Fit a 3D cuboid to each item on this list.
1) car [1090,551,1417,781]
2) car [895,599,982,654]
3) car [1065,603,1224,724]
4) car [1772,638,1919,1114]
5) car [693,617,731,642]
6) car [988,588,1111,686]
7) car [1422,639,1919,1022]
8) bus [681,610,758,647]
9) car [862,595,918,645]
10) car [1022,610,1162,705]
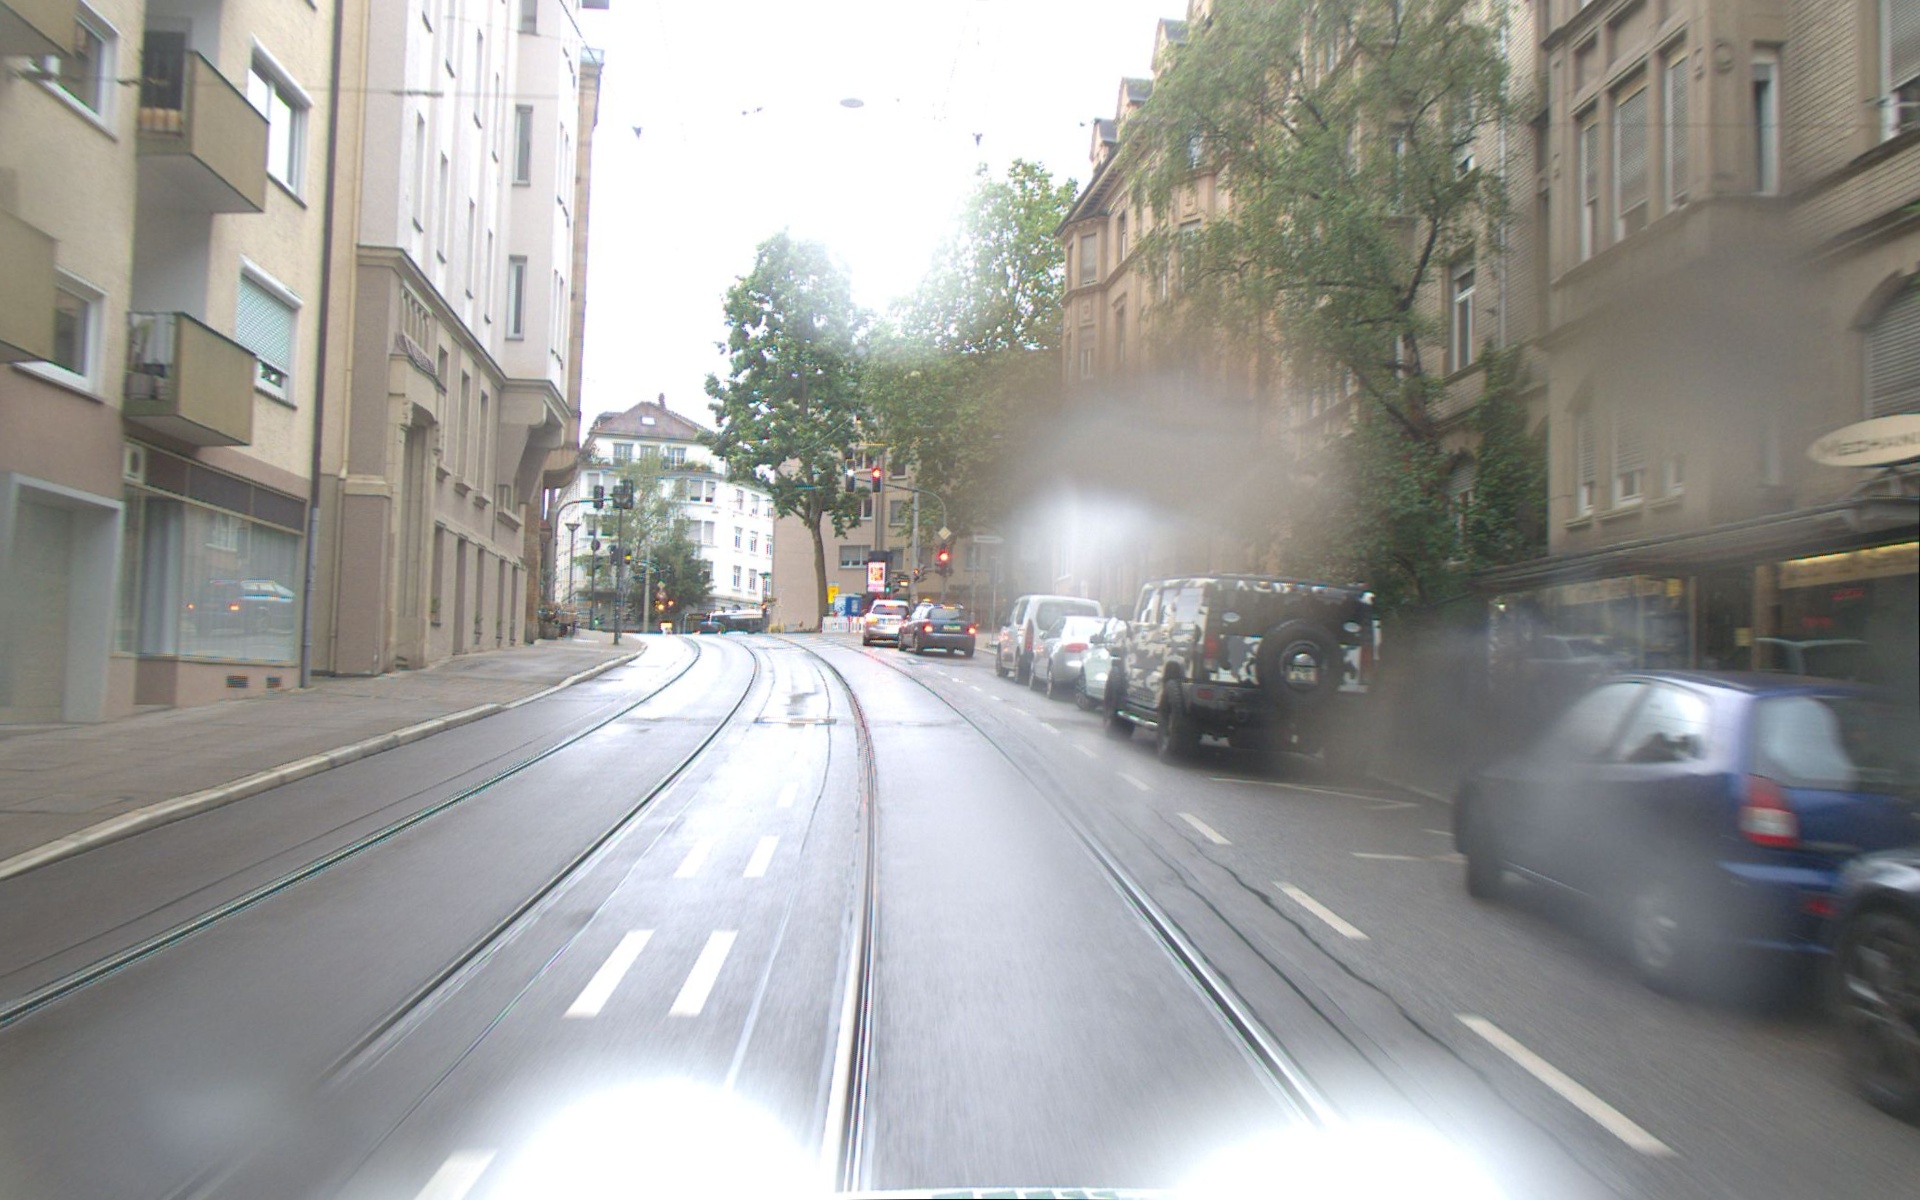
[{"bbox_3d":[3.004,0.628,18.336,2.088,2.048,5.344,4,0,-6],"label":"car"},{"bbox_3d":[-0.671,0.751,48.564,1.681,1.440,4.023,3,0,-13],"label":"car"},{"bbox_3d":[2.680,0.885,24.739,1.530,1.573,3.579,4,0,-7],"label":"car"},{"bbox_3d":[3.914,0.908,3.772,1.758,1.462,4.610,3,0,-1],"label":"car"},{"bbox_3d":[-16.499,1.944,110.227,1.757,1.537,4.001,-1,0,2],"label":"car"},{"bbox_3d":[1.797,0.723,34.609,1.763,1.796,4.456,4,0,-6],"label":"car"},{"bbox_3d":[3.743,0.962,8.366,1.644,1.361,3.882,3,0,-1],"label":"car"},{"bbox_3d":[-19.801,2.305,136.936,2.794,2.911,8.738,1,0,17],"label":"bus"},{"bbox_3d":[-2.330,0.636,54.457,1.677,1.481,3.550,3,0,-4],"label":"car"},{"bbox_3d":[2.258,0.956,29.381,1.715,1.425,4.474,4,0,-5],"label":"car"}]
